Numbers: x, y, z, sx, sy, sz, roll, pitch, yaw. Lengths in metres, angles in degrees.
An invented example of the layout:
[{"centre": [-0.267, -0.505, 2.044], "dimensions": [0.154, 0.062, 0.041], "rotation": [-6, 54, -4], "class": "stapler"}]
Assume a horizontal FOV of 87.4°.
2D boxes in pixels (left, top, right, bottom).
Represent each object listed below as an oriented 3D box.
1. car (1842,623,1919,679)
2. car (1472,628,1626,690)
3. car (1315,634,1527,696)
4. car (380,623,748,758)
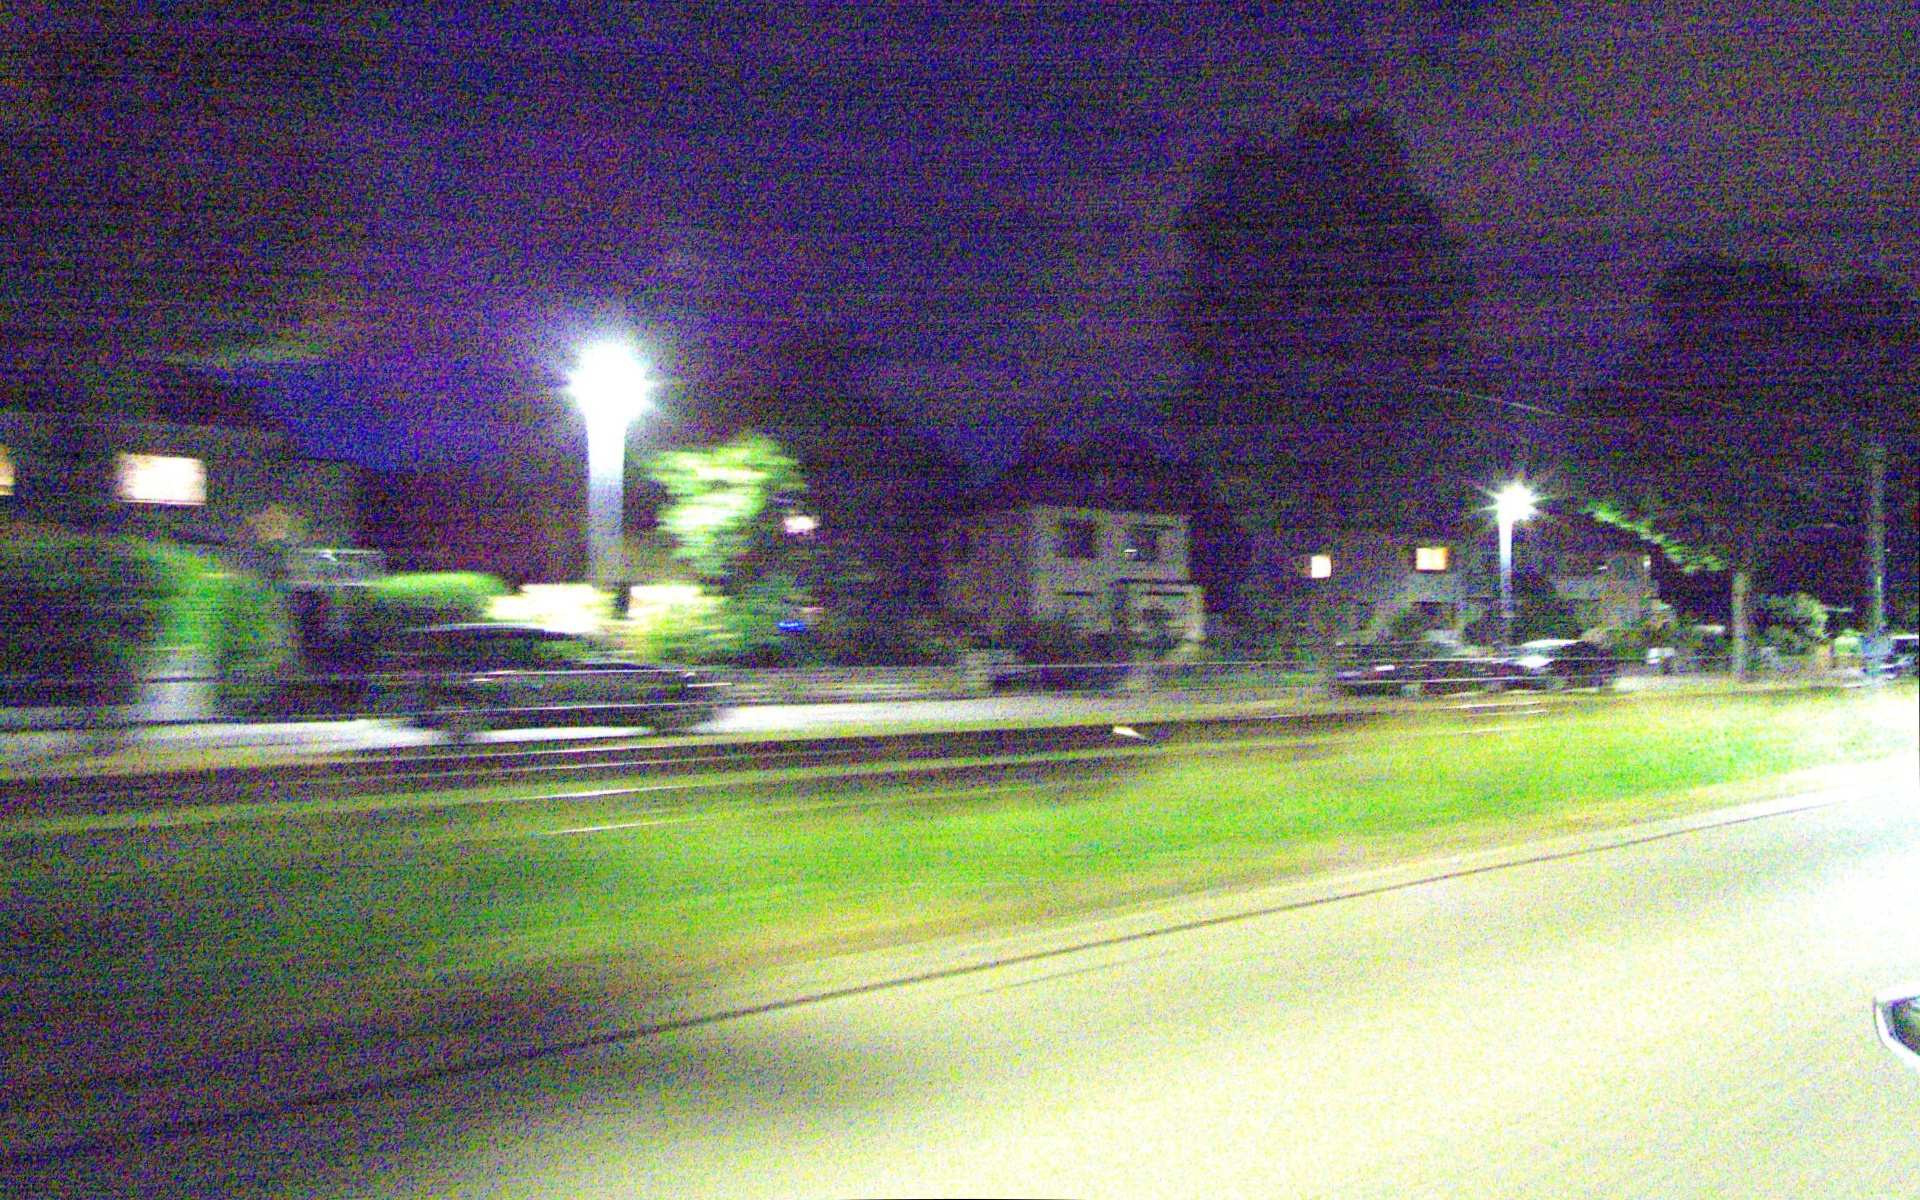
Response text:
[{"centre": [36.967, 2.005, 39.587], "dimensions": [3.955, 2.039, 2.082], "rotation": [1, -6, -31], "class": "car"}, {"centre": [15.912, 1.540, 27.109], "dimensions": [3.955, 1.550, 1.983], "rotation": [1, -2, -31], "class": "car"}, {"centre": [11.113, 1.514, 24.099], "dimensions": [5.371, 1.356, 1.983], "rotation": [2, -2, -32], "class": "car"}, {"centre": [-5.579, 1.204, 14.372], "dimensions": [4.620, 1.649, 1.985], "rotation": [2, -2, -29], "class": "car"}]
